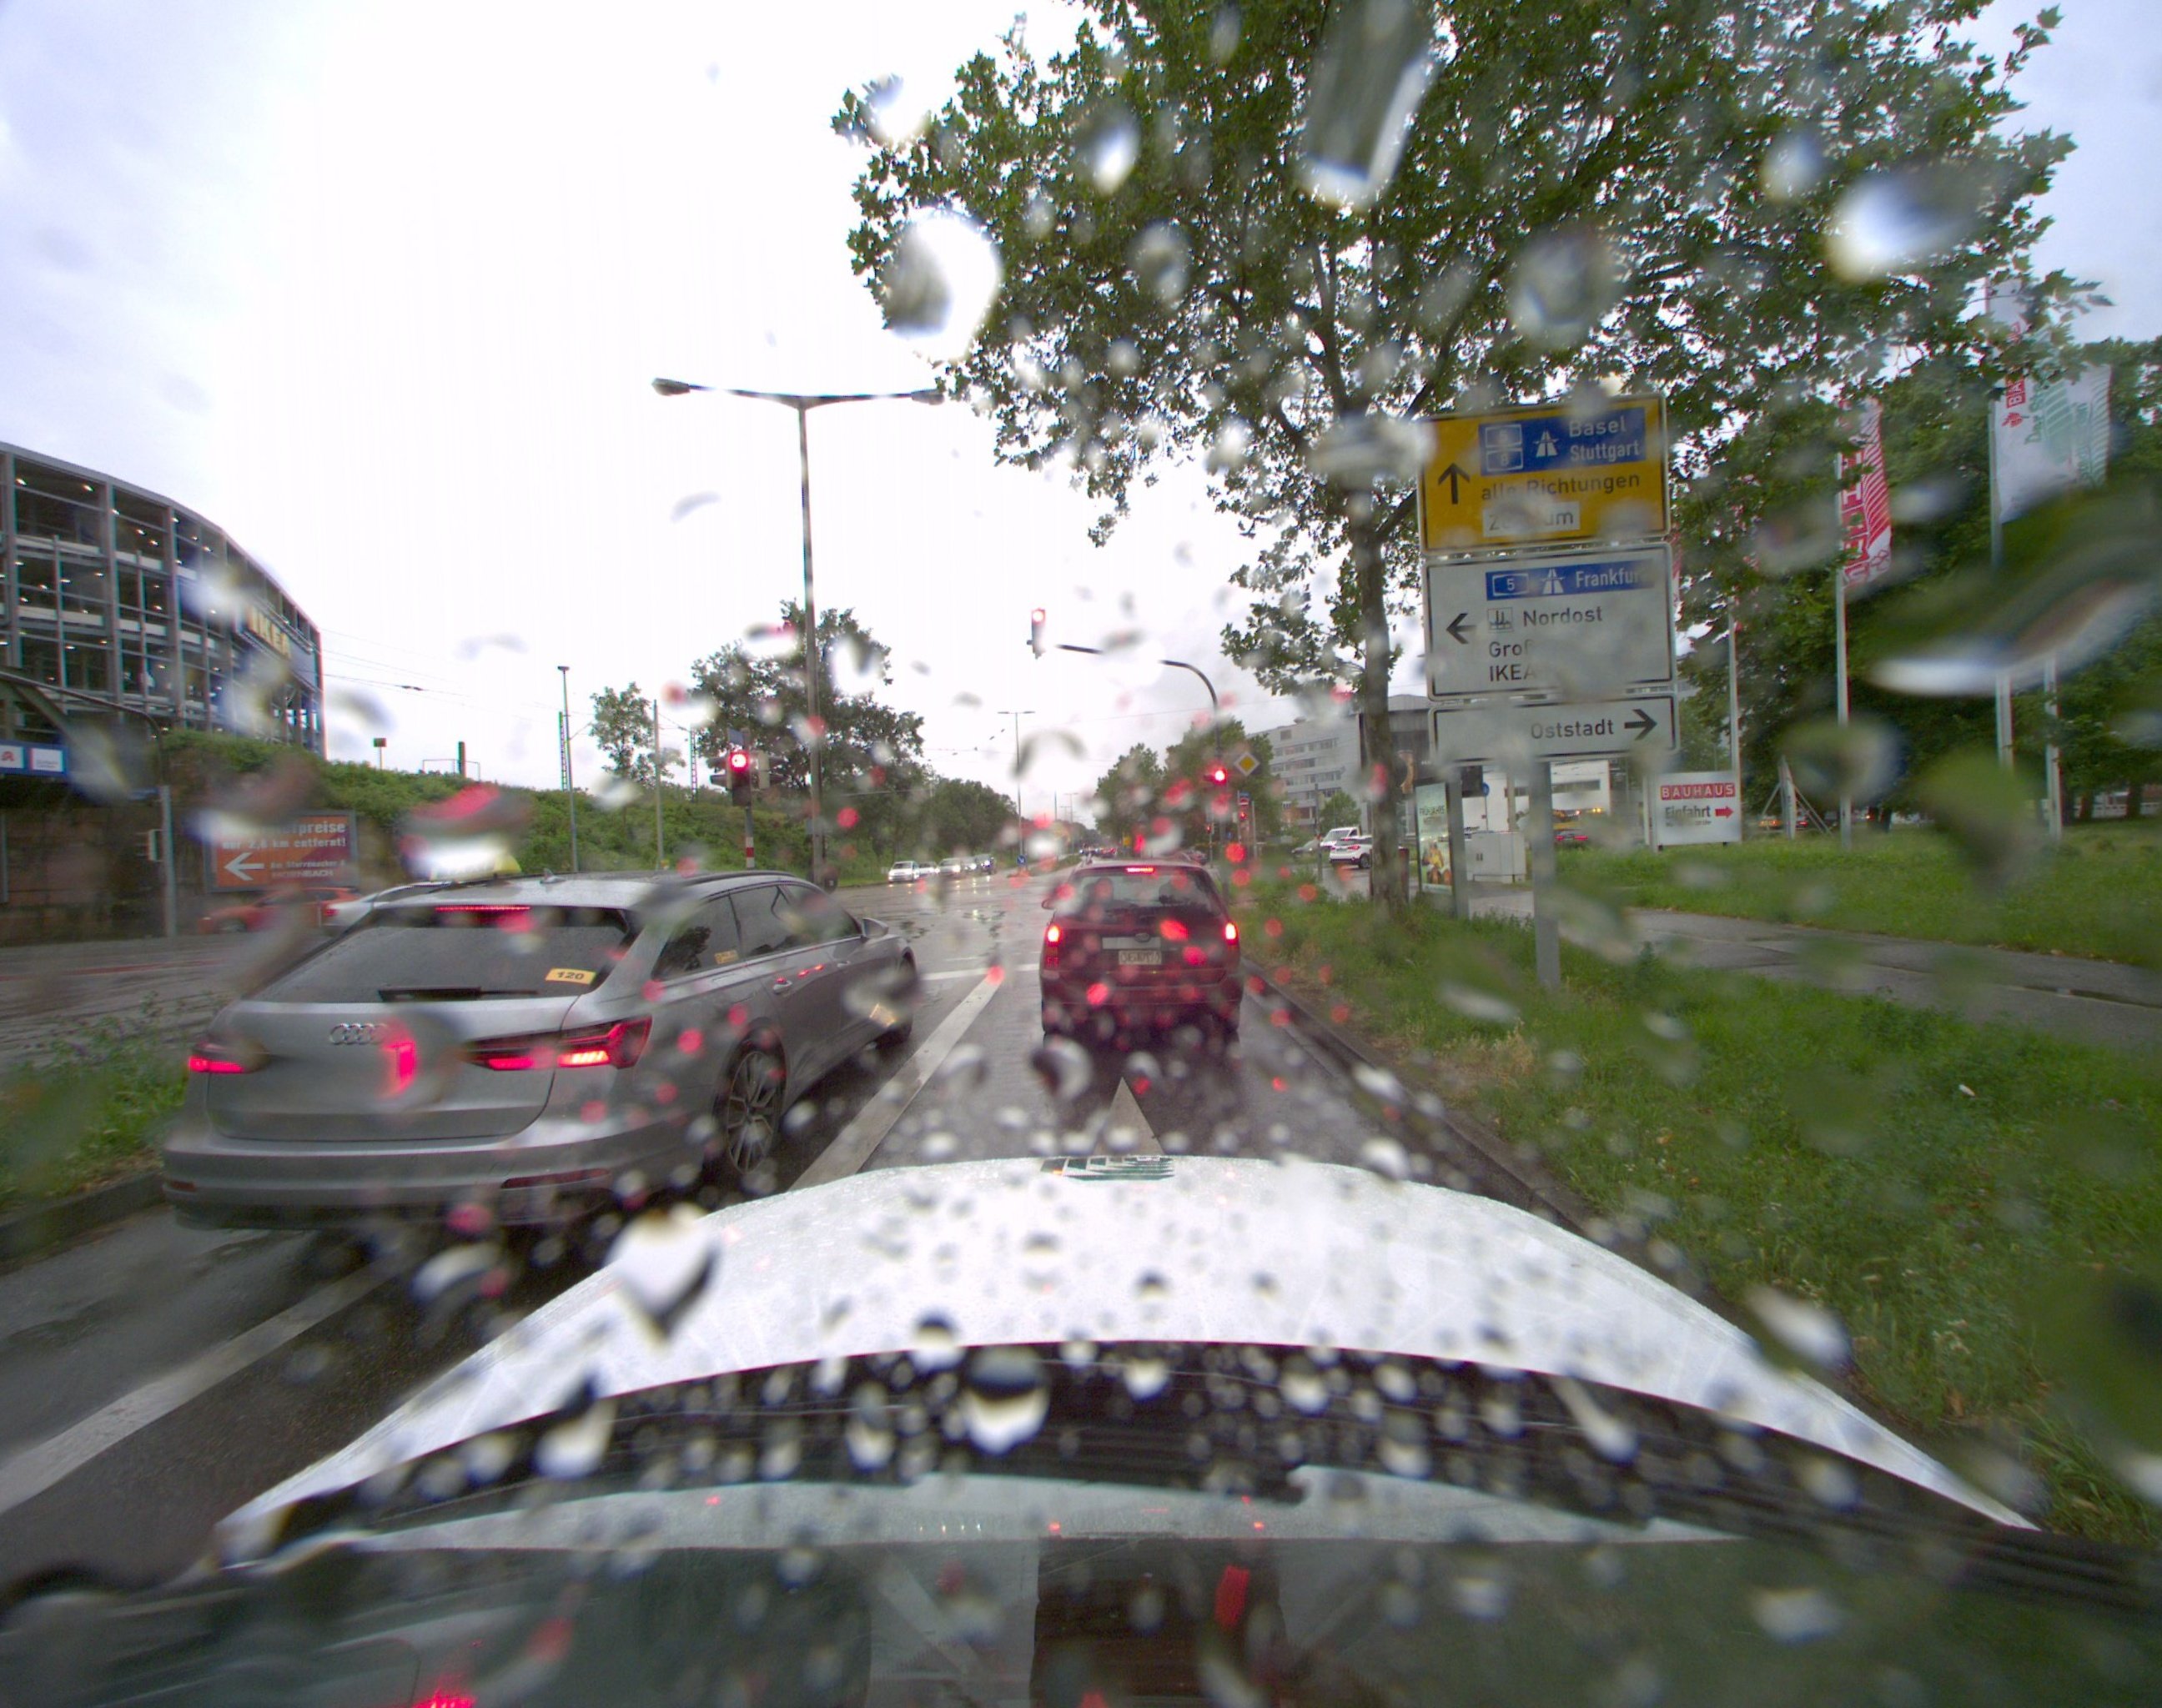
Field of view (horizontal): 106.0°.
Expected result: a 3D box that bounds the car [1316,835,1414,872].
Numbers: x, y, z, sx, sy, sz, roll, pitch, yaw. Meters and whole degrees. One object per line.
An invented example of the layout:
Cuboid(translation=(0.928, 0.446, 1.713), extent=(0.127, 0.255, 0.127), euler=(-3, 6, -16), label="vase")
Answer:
Cuboid(translation=(13.152, -0.039, 37.702), extent=(4.073, 1.521, 1.982), euler=(-2, 0, -28), label="car")

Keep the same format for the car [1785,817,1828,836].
Cuboid(translation=(64.174, -2.447, 72.040), extent=(4.405, 1.537, 1.783), euler=(-2, 0, -34), label="car")

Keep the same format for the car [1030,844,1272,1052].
Cuboid(translation=(0.592, 0.703, 8.280), extent=(1.789, 1.537, 4.389), euler=(-1, 0, 2), label="car")

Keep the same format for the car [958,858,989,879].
Cuboid(translation=(-8.314, 1.112, 63.347), extent=(1.706, 1.530, 4.002), euler=(-3, 0, 2), label="car")

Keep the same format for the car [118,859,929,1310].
Cuboid(translation=(-2.293, 0.786, 4.999), extent=(1.684, 1.433, 4.576), euler=(-2, 0, 2), label="car")

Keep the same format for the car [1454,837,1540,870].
Cuboid(translation=(21.933, -0.048, 42.916), extent=(4.398, 1.537, 1.786), euler=(-2, 0, -28), label="car")

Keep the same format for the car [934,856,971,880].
Cuboid(translation=(-8.867, 0.956, 56.521), extent=(1.706, 1.530, 4.002), euler=(-3, 0, 2), label="car")

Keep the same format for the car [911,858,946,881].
Cuboid(translation=(-11.579, 1.154, 61.907), extent=(1.706, 1.530, 4.002), euler=(-3, 0, 2), label="car")

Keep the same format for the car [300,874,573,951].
Cuboid(translation=(-15.933, 1.384, 20.561), extent=(5.067, 1.533, 1.982), euler=(-2, 0, -28), label="car")

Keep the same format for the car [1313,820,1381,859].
Cuboid(translation=(17.499, -0.952, 53.443), extent=(4.405, 2.190, 1.783), euler=(-5, 1, -33), label="car")

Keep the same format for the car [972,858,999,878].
Cuboid(translation=(-8.261, 1.201, 71.069), extent=(1.706, 1.530, 4.002), euler=(-3, 0, 2), label="car")

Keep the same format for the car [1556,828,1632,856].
Cuboid(translation=(30.108, -0.719, 47.775), extent=(4.398, 1.537, 1.786), euler=(-2, 0, -28), label="car")

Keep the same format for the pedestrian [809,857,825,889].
Cuboid(translation=(-15.013, 1.066, 46.312), extent=(0.528, 1.786, 0.676), euler=(-1, -1, 19), label="pedestrian")

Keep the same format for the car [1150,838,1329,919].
Cuboid(translation=(3.949, 0.516, 19.896), extent=(4.409, 1.537, 1.781), euler=(-5, 3, -38), label="car")

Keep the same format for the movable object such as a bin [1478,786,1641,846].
Cuboid(translation=(57.783, -4.359, 99.058), extent=(8.296, 6.283, 14.818), euler=(0, -1, -32), label="movable object such as a bin")

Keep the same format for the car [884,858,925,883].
Cuboid(translation=(-11.957, 1.090, 55.410), extent=(1.706, 1.530, 4.002), euler=(-3, 0, 2), label="car")

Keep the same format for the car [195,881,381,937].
Cuboid(translation=(-25.089, 1.700, 25.989), extent=(4.018, 1.429, 1.699), euler=(-3, 0, -36), label="car")

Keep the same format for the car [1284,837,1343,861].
Cuboid(translation=(16.392, -0.356, 57.262), extent=(4.016, 1.537, 1.784), euler=(-3, 0, -34), label="car")
